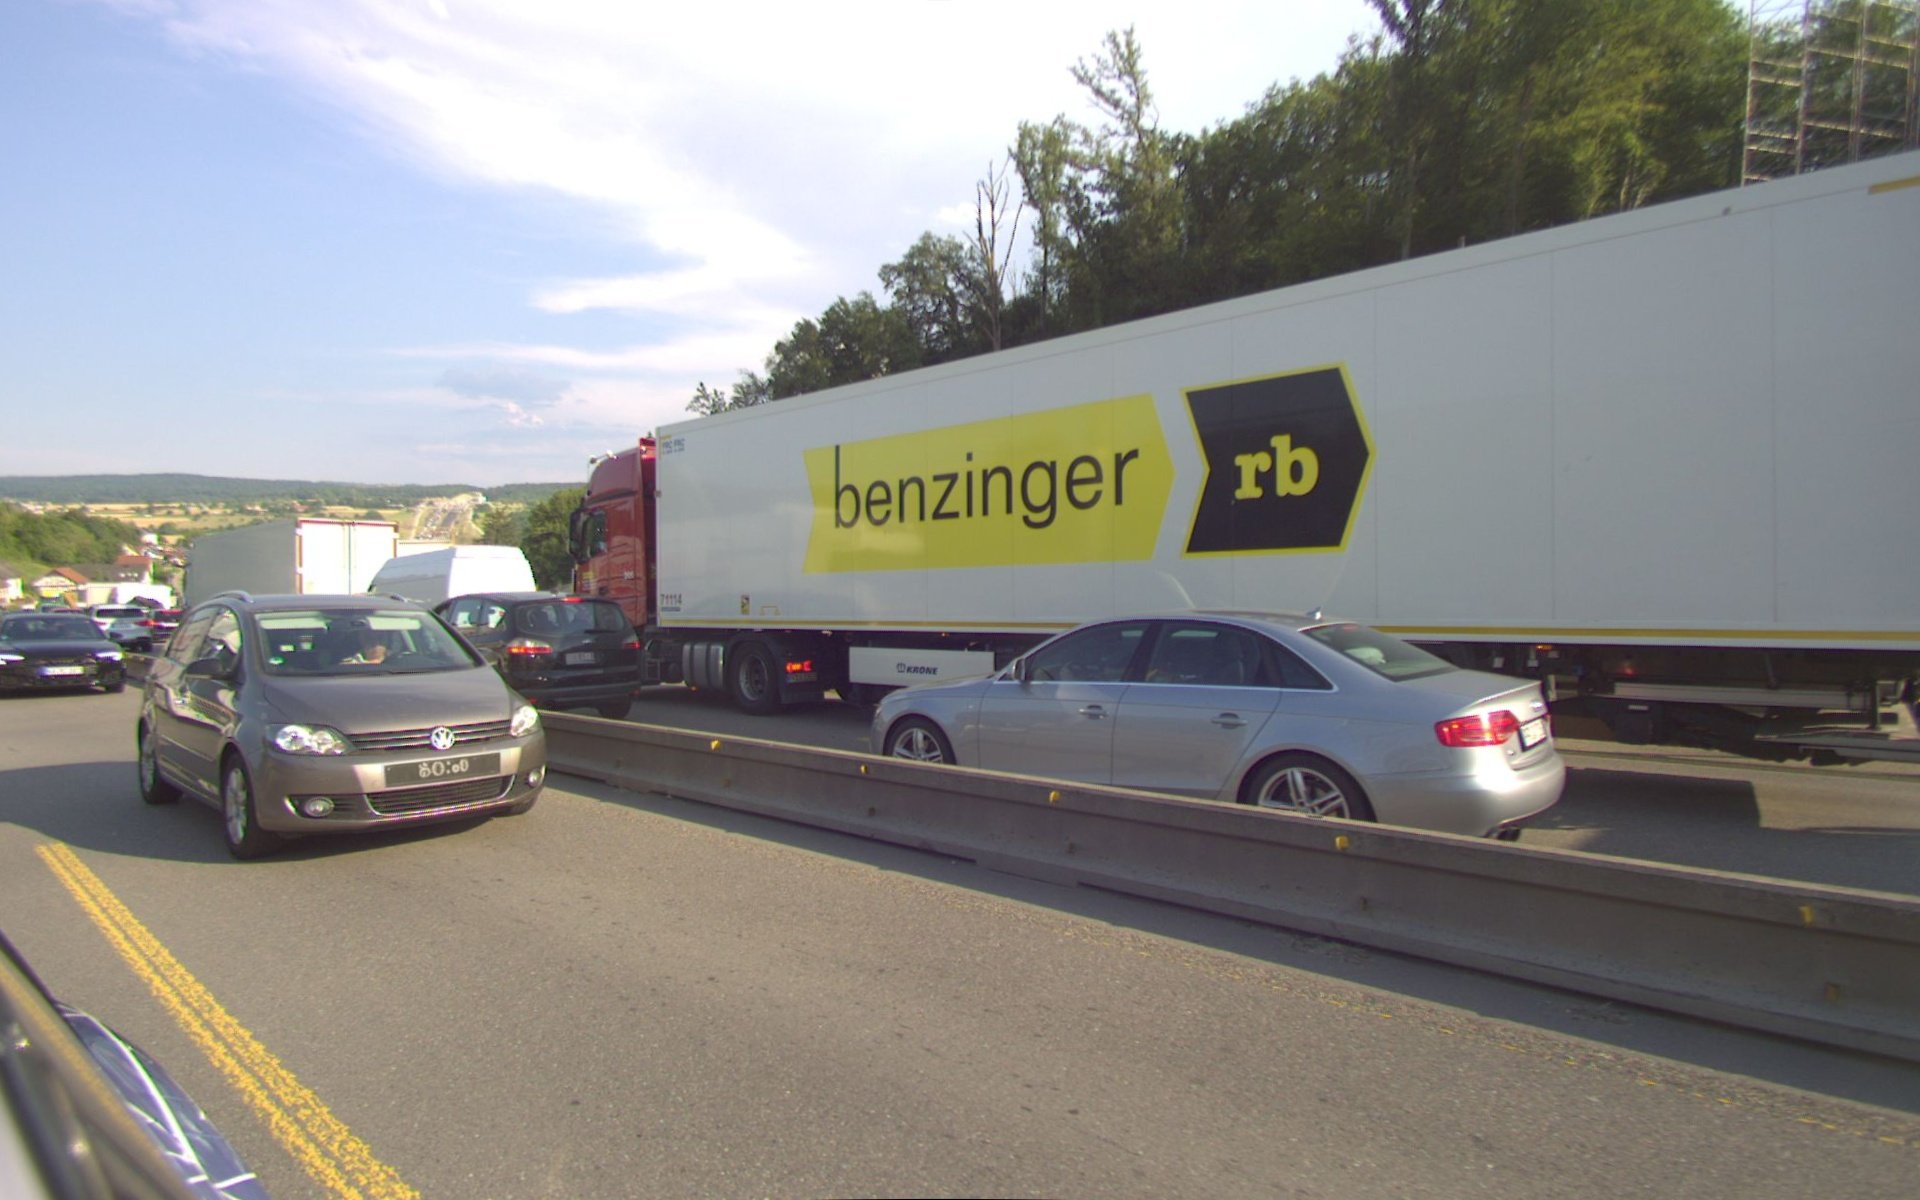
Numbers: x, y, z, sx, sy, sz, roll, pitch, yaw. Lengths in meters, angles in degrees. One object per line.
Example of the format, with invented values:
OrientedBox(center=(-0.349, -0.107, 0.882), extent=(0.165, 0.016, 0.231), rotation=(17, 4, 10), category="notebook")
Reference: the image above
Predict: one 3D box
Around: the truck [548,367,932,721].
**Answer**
OrientedBox(center=(-3.522, -0.669, 15.376), extent=(5.931, 4.332, 2.716), rotation=(-1, 0, 41), category="truck")

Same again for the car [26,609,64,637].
OrientedBox(center=(-61.646, 1.551, 68.152), extent=(1.783, 1.785, 5.457), rotation=(-1, -1, -43), category="car")

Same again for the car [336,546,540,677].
OrientedBox(center=(-12.536, 0.285, 23.995), extent=(6.948, 2.710, 2.000), rotation=(-2, 0, 43), category="car")

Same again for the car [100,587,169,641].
OrientedBox(center=(-47.810, 0.757, 58.546), extent=(7.636, 2.940, 2.308), rotation=(0, -1, 45), category="car")

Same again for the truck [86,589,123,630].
OrientedBox(center=(-75.283, 0.833, 89.061), extent=(2.417, 3.489, 7.629), rotation=(0, -1, -40), category="truck")

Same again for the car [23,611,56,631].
OrientedBox(center=(-74.896, 1.720, 82.344), extent=(1.796, 1.591, 4.758), rotation=(2, -3, -44), category="car")

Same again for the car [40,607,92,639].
OrientedBox(center=(-47.894, 1.241, 54.170), extent=(1.866, 1.580, 4.458), rotation=(-2, 0, -44), category="car")

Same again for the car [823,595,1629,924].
OrientedBox(center=(1.382, 0.723, 6.684), extent=(4.888, 1.388, 1.713), rotation=(-1, 1, 41), category="car")

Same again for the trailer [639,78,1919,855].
OrientedBox(center=(1.510, -0.713, 10.944), extent=(13.875, 4.366, 2.737), rotation=(-1, 0, 41), category="trailer")

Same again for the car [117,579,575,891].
OrientedBox(center=(-4.506, 0.688, 7.144), extent=(4.099, 1.585, 1.666), rotation=(-1, 0, 42), category="car")

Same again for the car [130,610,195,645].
OrientedBox(center=(-35.754, 1.224, 45.336), extent=(4.715, 1.471, 1.723), rotation=(-1, -1, 45), category="car")

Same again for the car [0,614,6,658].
OrientedBox(center=(-32.859, 1.231, 33.600), extent=(1.674, 1.409, 4.003), rotation=(-2, 0, -44), category="car")

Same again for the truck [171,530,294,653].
OrientedBox(center=(-27.261, -0.289, 37.857), extent=(5.682, 4.250, 2.683), rotation=(-1, 0, 43), category="truck")

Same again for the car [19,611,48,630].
OrientedBox(center=(-83.056, 1.891, 90.699), extent=(1.796, 1.591, 4.758), rotation=(2, -3, -44), category="car")

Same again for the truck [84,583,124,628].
OrientedBox(center=(-84.390, 0.543, 99.675), extent=(2.674, 4.119, 14.172), rotation=(1, -1, -41), category="truck")

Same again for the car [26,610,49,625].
OrientedBox(center=(-104.217, 1.957, 114.306), extent=(1.796, 1.591, 4.758), rotation=(2, -3, -44), category="car")

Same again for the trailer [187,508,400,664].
OrientedBox(center=(-22.209, -0.336, 33.119), extent=(13.749, 4.250, 2.691), rotation=(-1, 0, 43), category="trailer")

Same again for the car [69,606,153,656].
OrientedBox(center=(-29.929, 1.053, 35.614), extent=(1.848, 1.601, 4.806), rotation=(-2, 1, -45), category="car")

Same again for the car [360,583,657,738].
OrientedBox(center=(-6.039, 0.688, 13.203), extent=(4.861, 1.670, 1.733), rotation=(-1, -1, 42), category="car")

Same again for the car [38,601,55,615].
OrientedBox(center=(-143.639, 1.292, 159.107), extent=(1.796, 2.015, 4.758), rotation=(2, -3, -44), category="car")

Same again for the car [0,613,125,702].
OrientedBox(center=(-16.631, 0.964, 18.353), extent=(4.001, 1.409, 1.841), rotation=(0, -1, 44), category="car")
